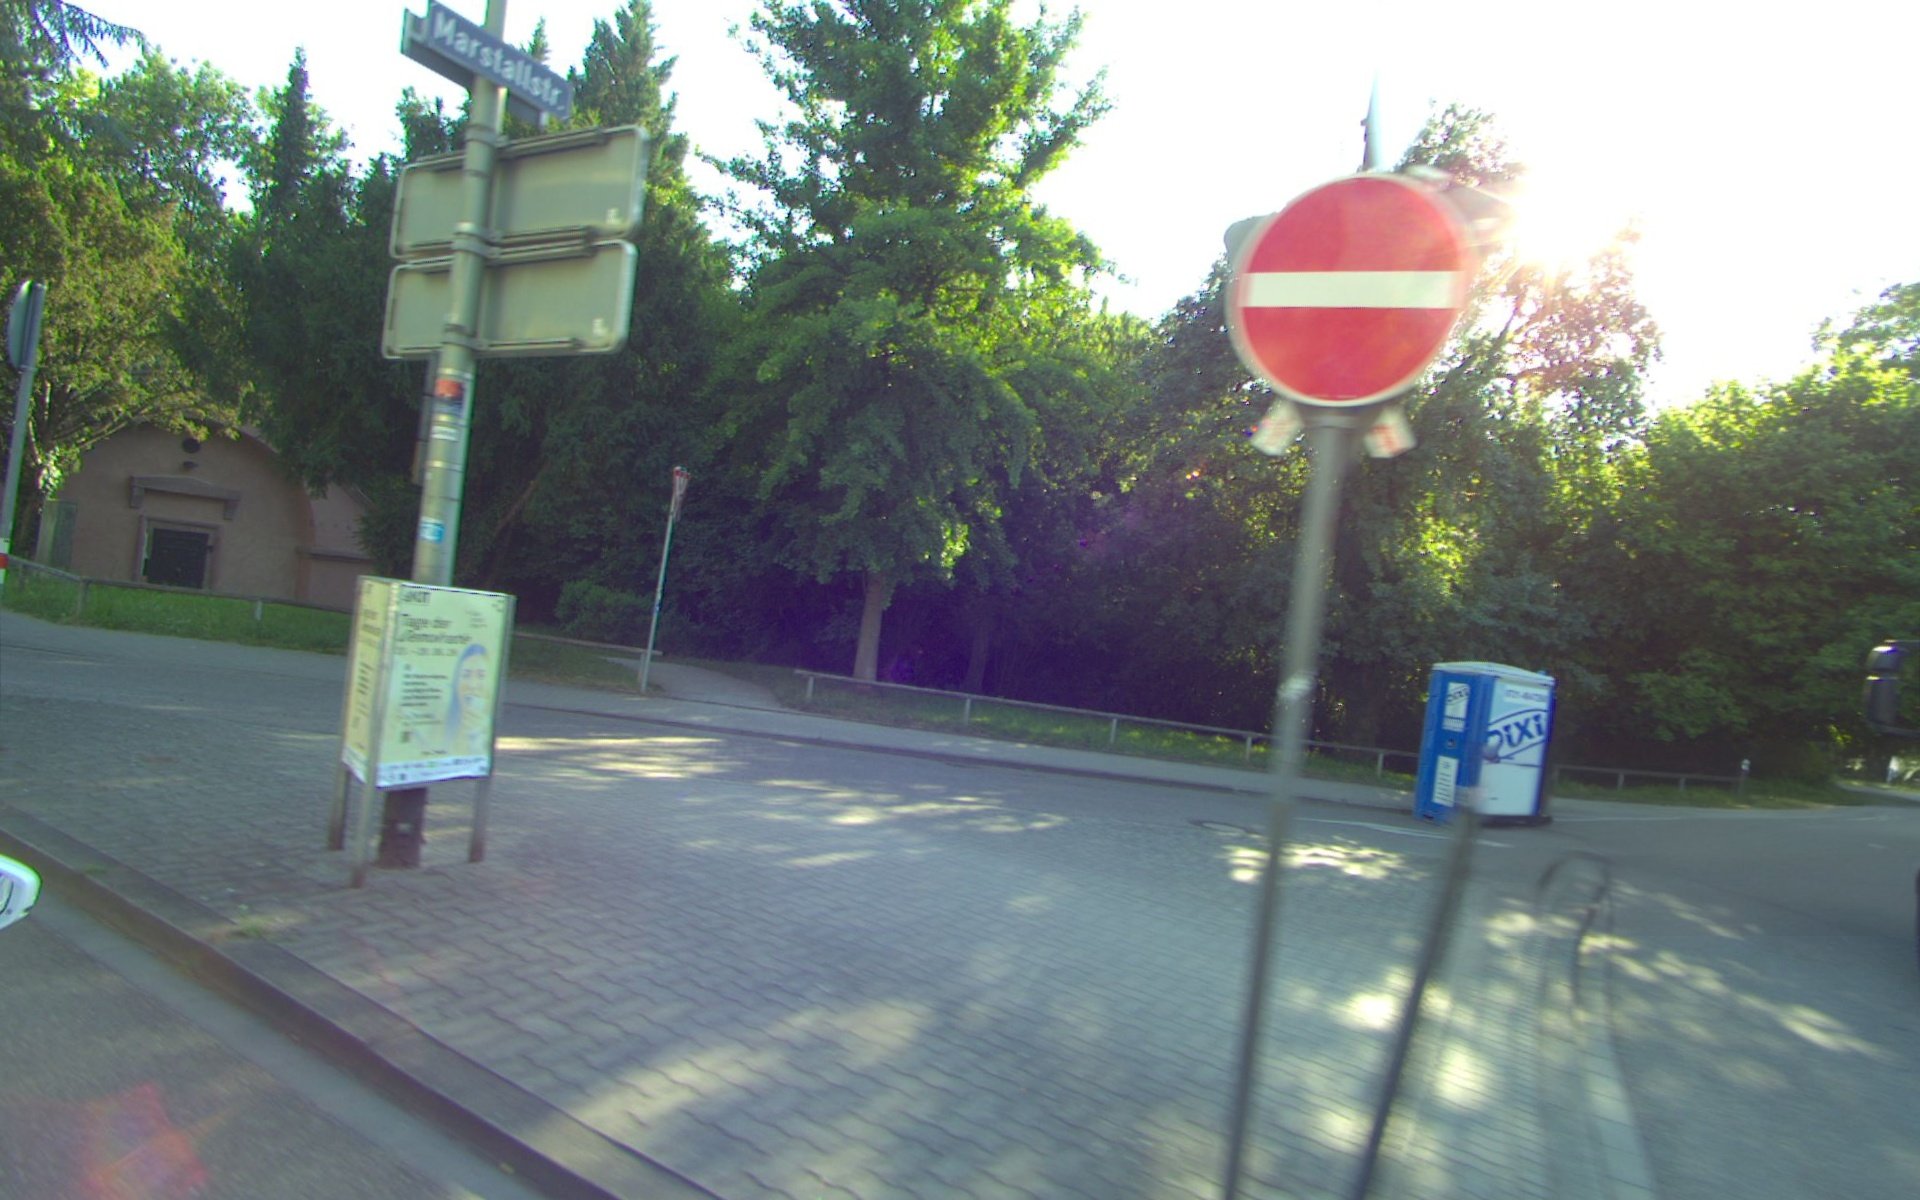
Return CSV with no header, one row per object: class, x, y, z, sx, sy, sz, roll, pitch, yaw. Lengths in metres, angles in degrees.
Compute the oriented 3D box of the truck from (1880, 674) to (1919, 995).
truck,10.200,1.917,8.532,6.563,2.927,2.407,10,-2,-39
